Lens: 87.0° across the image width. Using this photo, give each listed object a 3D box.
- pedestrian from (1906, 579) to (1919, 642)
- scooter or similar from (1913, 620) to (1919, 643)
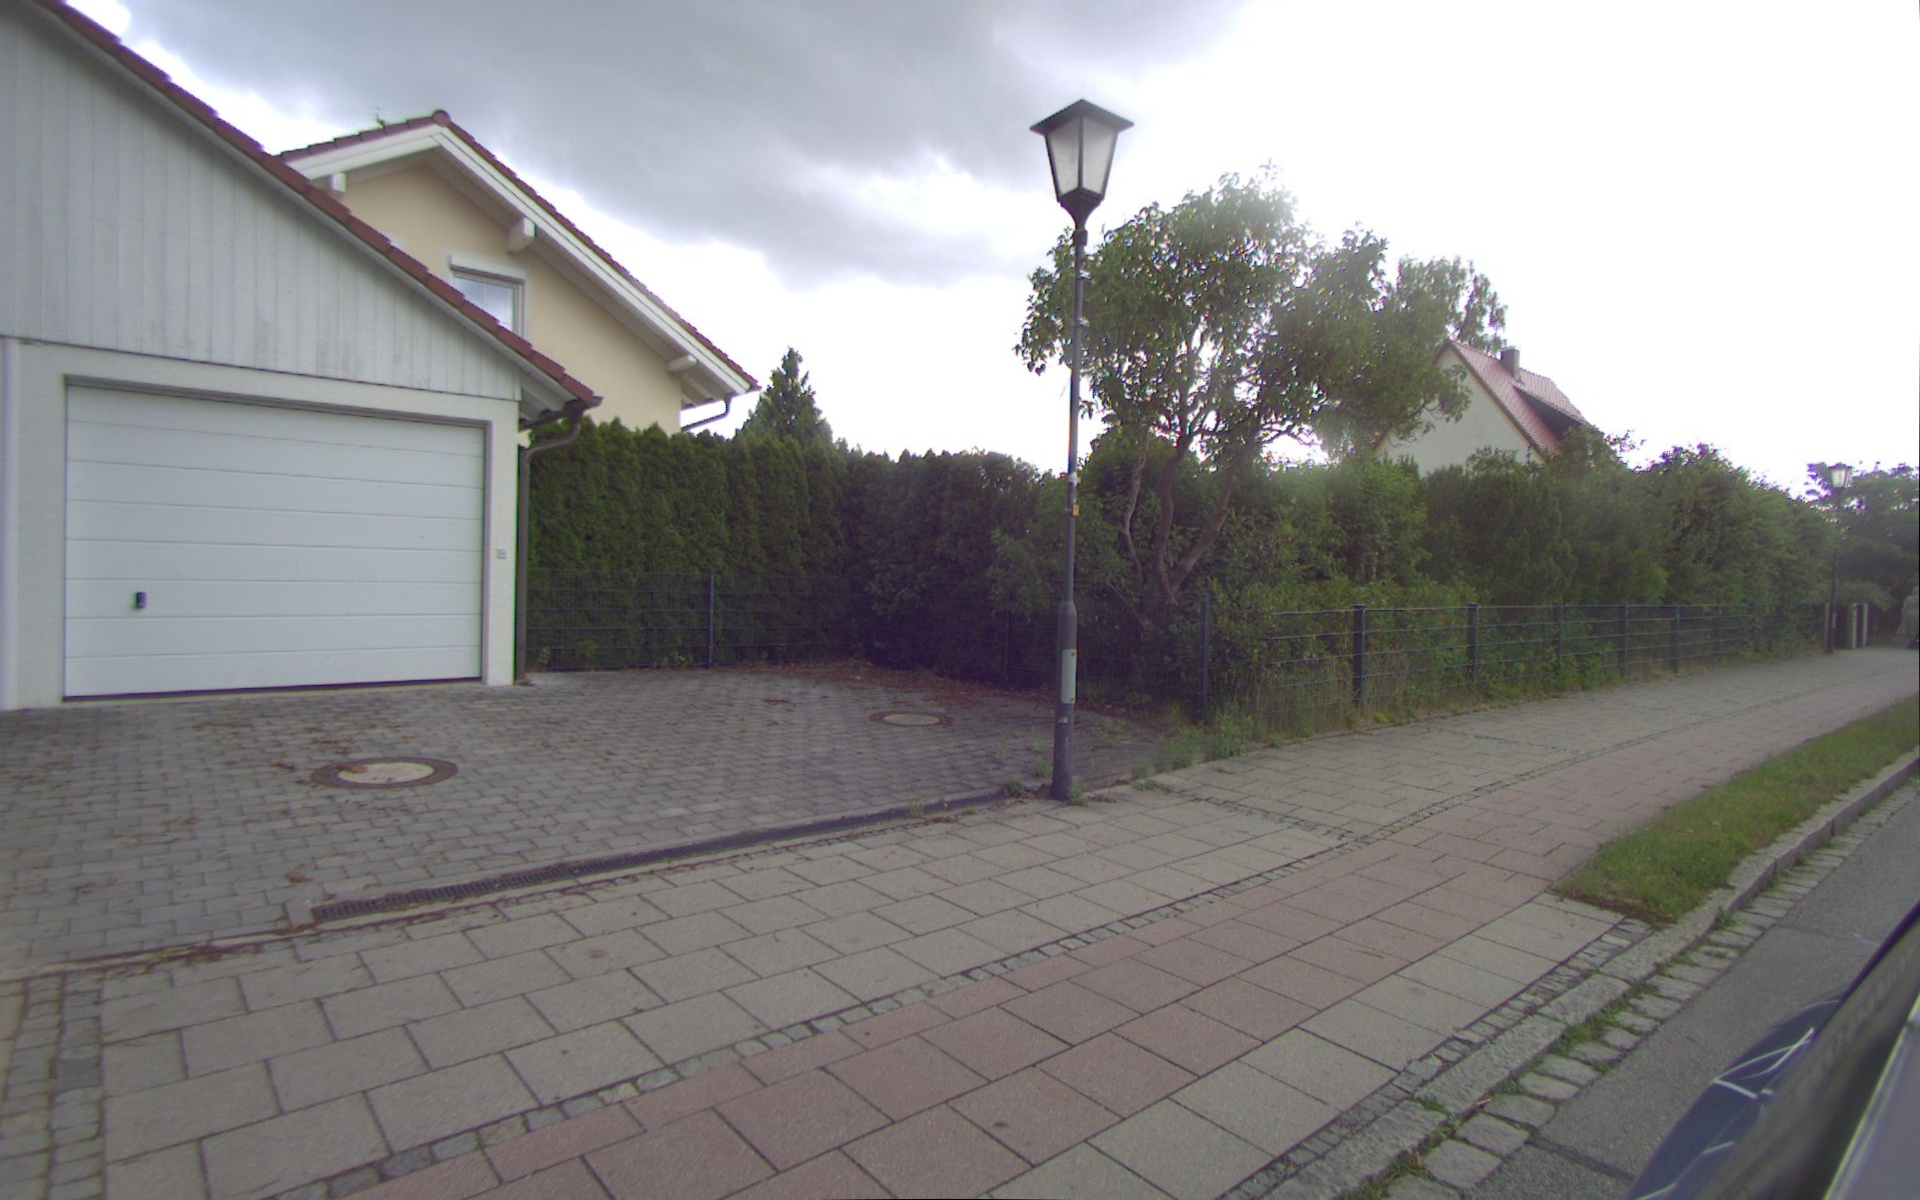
[{"bbox_3d":[25.218,0.271,26.330,0.660,1.622,0.791,0,1,-43],"label":"pedestrian"},{"bbox_3d":[24.769,0.817,25.807,0.729,0.563,0.617,1,0,-42],"label":"scooter or similar"}]
